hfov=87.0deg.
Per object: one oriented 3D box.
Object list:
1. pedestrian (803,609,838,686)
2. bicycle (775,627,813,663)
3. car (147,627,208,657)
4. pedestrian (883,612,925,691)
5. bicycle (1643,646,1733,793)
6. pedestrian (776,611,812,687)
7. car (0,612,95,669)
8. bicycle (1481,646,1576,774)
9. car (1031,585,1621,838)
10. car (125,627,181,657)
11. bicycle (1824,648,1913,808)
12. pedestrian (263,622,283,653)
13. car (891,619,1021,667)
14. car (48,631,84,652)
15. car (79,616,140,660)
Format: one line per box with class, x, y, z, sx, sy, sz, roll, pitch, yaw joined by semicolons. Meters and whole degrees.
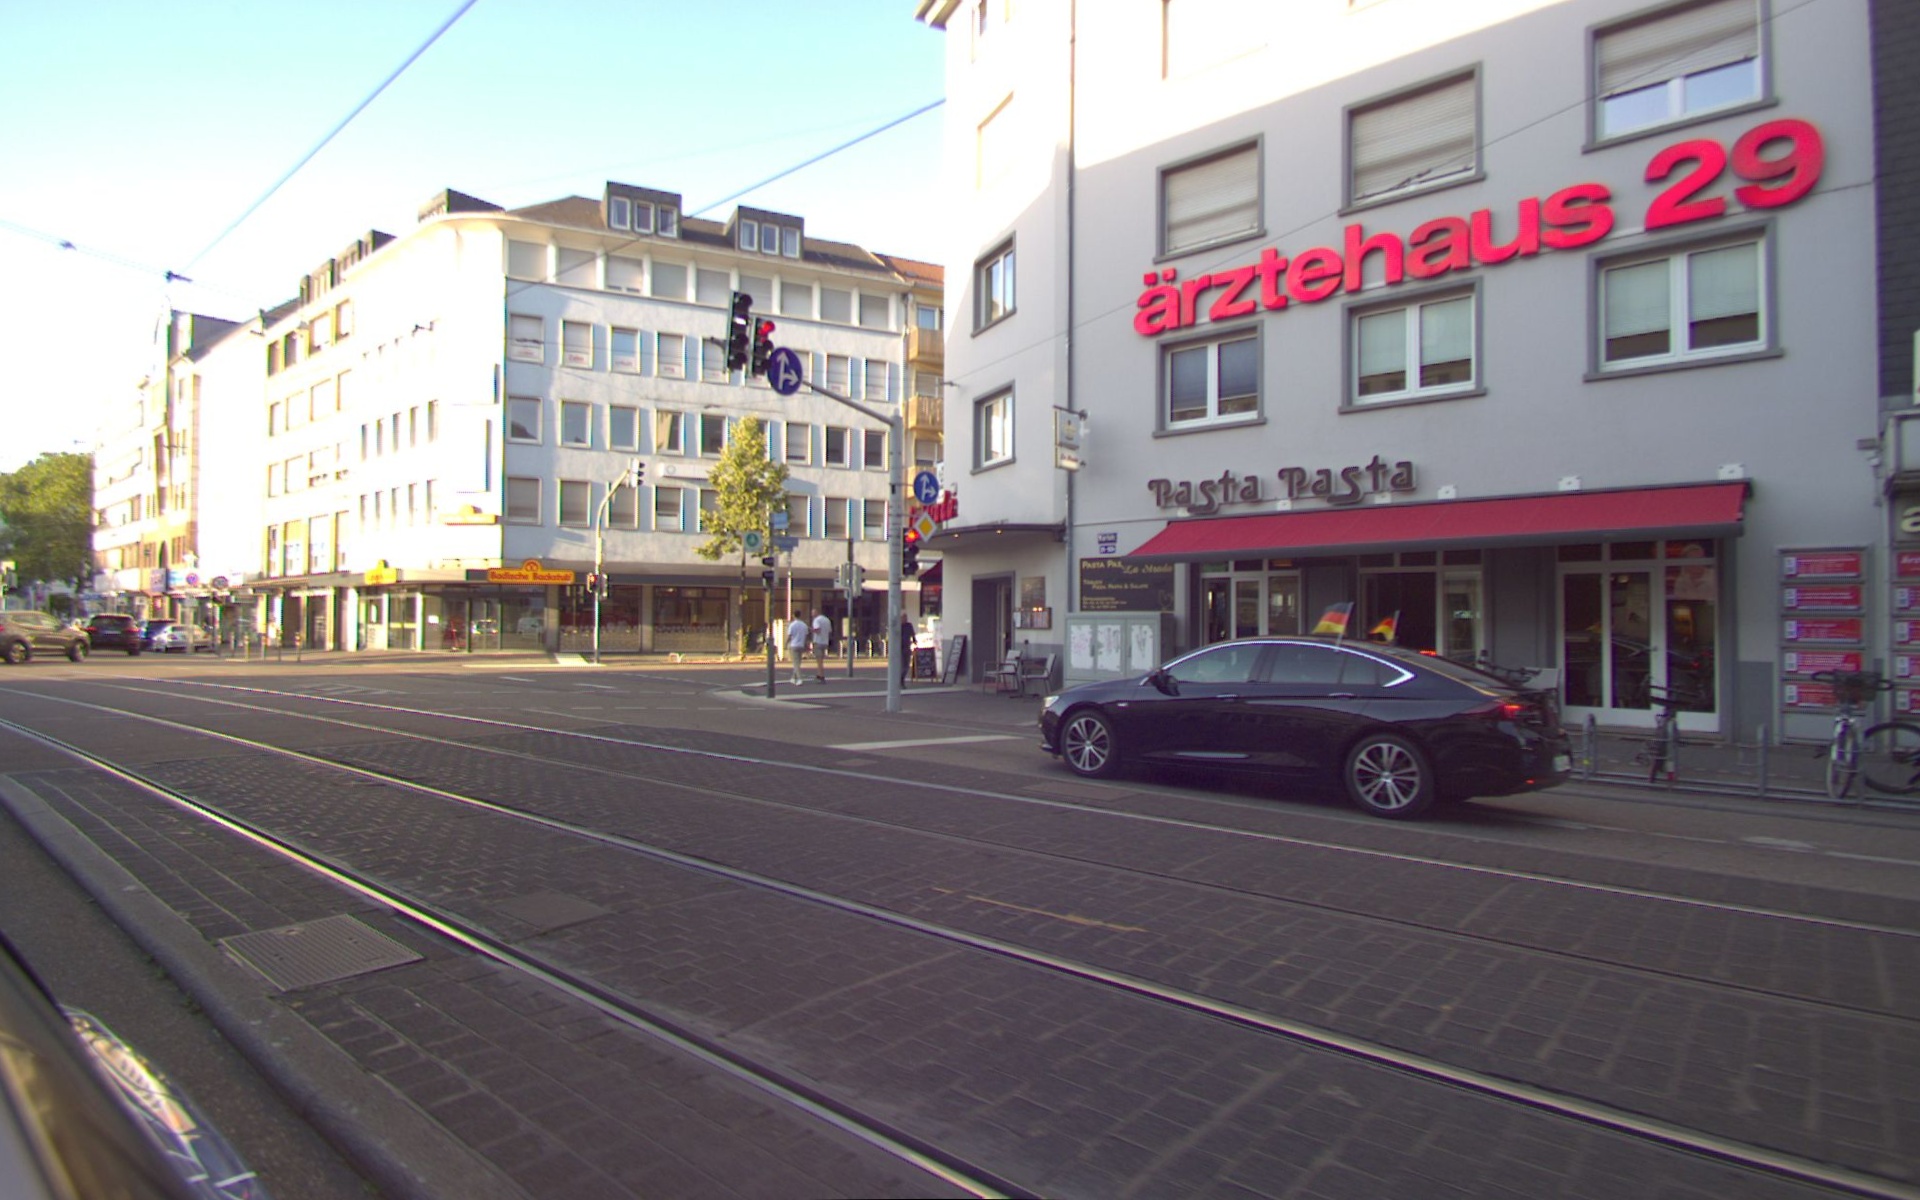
pedestrian;-3.292;1.116;23.917;0.627;1.792;0.602;1;-2;-29
bicycle;-6.392;1.719;38.873;0.629;1.262;2.382;2;-1;-30
car;-36.789;1.967;47.549;3.387;1.263;1.615;-2;0;41
pedestrian;-1.232;1.118;22.086;0.701;1.689;0.705;1;-2;-25
bicycle;7.408;1.143;10.261;0.553;1.233;2.090;-1;0;41
pedestrian;-3.880;1.130;23.591;0.627;1.758;0.671;1;-2;-30
car;-30.062;1.259;32.119;1.801;1.711;4.264;0;-2;-5
bicycle;6.387;1.177;11.333;0.553;1.220;1.871;-1;0;41
car;3.131;0.857;9.332;4.726;1.740;1.972;-1;-4;42
car;-40.302;2.092;50.524;3.387;1.364;1.615;-2;0;41
bicycle;8.506;1.131;9.521;0.553;1.233;2.090;-1;0;41
pedestrian;-33.788;1.832;49.761;0.621;1.483;0.539;-2;1;25
car;-0.151;1.518;34.892;3.943;1.568;2.121;2;-3;-24
car;-59.833;2.791;67.711;3.145;1.301;1.441;-2;0;41
car;-34.937;1.547;41.649;1.777;1.711;4.577;2;-2;-39
